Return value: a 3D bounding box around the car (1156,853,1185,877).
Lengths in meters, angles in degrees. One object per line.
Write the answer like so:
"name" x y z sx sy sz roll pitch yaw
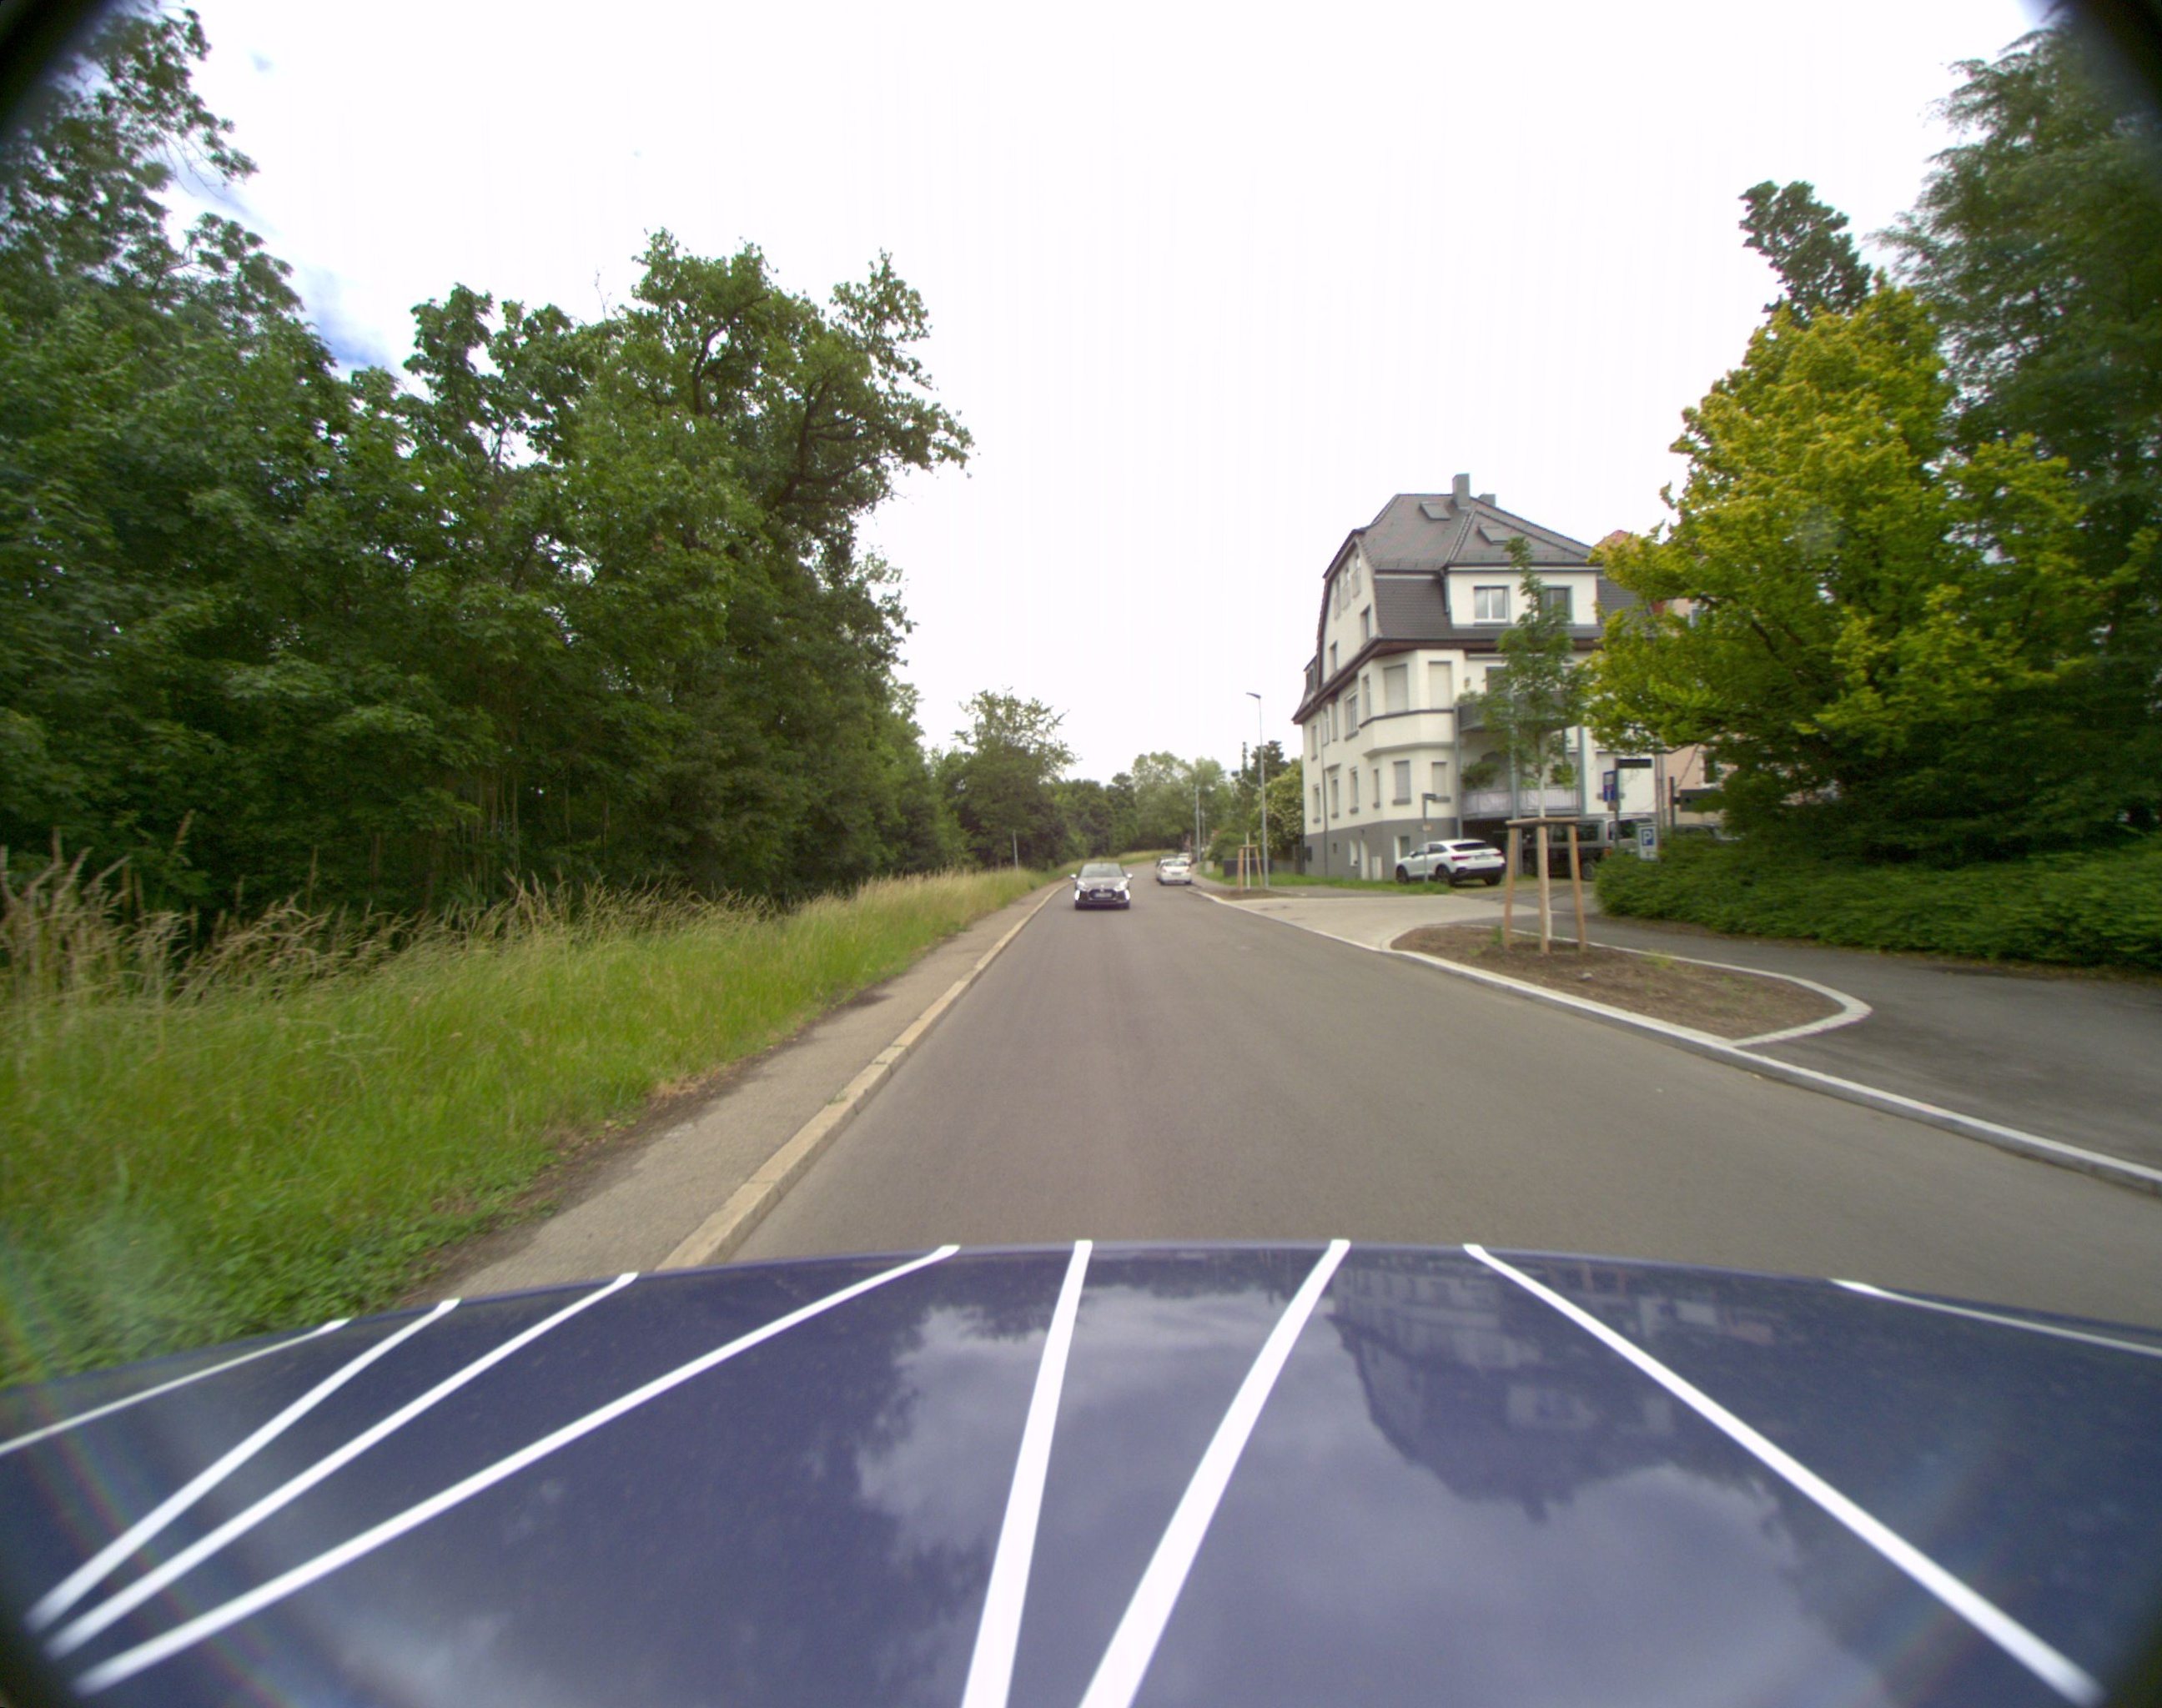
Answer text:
"car" 5.838 0.691 49.879 1.728 1.382 4.727 0 1 4

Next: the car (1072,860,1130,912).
"car" 0.691 0.931 23.681 1.619 1.460 4.001 1 0 3

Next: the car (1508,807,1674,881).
"car" 16.347 -0.338 24.730 1.911 2.039 4.761 -5 1 -4

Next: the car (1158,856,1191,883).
"car" 5.379 0.881 44.123 1.646 1.461 4.072 0 0 3

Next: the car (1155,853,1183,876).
"car" 6.372 0.730 55.170 1.730 1.564 4.816 1 0 3

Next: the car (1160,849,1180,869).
"car" 8.524 0.480 72.284 1.799 1.790 4.066 0 1 8

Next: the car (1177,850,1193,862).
"car" 13.110 0.203 95.517 1.735 1.420 3.460 0 1 12

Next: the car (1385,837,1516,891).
"car" 12.358 0.273 25.801 1.911 1.524 4.595 -5 1 -4
